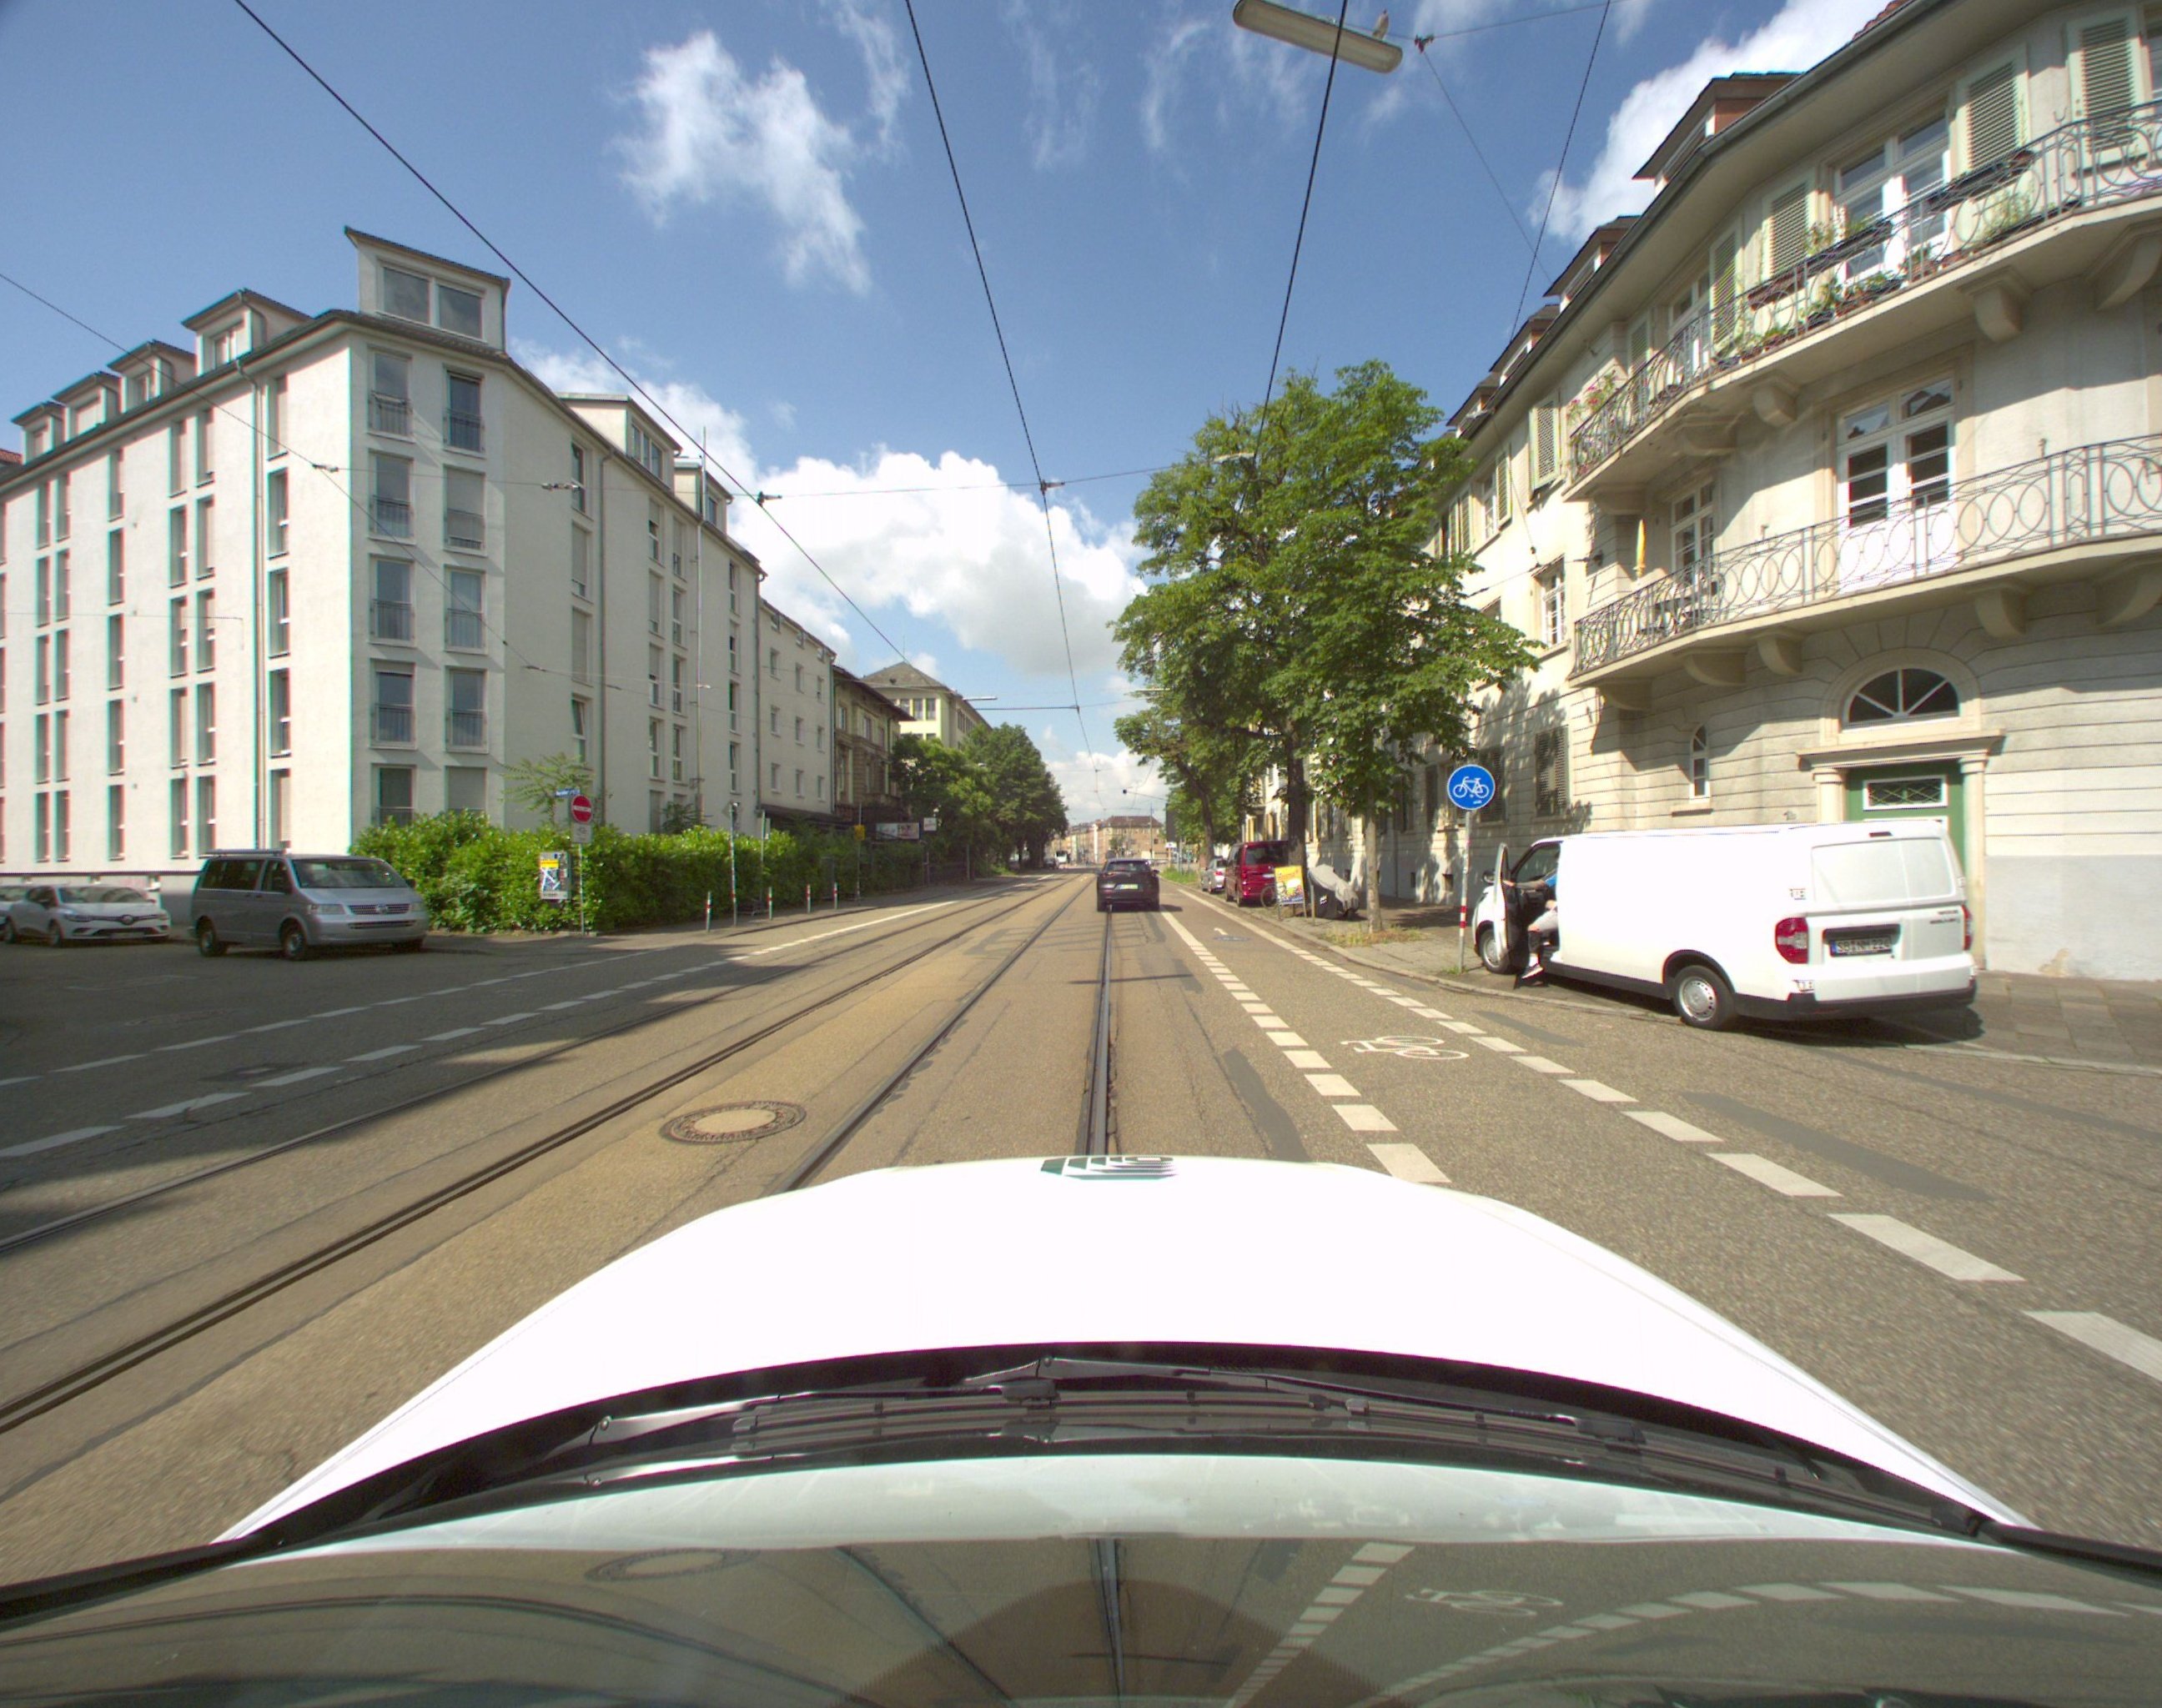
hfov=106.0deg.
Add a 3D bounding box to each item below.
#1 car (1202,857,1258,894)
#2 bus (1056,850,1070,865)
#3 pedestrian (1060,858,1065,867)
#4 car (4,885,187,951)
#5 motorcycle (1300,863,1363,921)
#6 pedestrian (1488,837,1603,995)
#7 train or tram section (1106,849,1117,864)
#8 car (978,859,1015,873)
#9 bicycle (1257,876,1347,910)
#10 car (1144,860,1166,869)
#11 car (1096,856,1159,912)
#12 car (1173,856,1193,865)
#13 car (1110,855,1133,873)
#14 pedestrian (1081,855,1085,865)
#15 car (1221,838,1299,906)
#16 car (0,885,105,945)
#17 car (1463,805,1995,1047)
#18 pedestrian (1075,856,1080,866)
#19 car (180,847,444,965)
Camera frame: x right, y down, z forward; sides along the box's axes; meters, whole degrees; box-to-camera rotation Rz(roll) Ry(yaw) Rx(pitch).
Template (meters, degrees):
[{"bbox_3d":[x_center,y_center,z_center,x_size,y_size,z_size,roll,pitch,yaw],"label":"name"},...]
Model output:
[{"bbox_3d":[6.100,0.837,33.677,1.714,1.424,3.591,-1,0,2],"label":"car"},{"bbox_3d":[-4.203,0.795,186.062,2.683,3.421,11.002,1,0,-4],"label":"bus"},{"bbox_3d":[-3.137,1.499,139.957,0.749,1.510,0.823,-1,-1,-3],"label":"pedestrian"},{"bbox_3d":[-23.795,1.491,19.667,3.923,1.413,1.800,-1,-1,24],"label":"car"},{"bbox_3d":[5.872,0.853,19.229,0.791,1.271,2.423,-1,0,2],"label":"motorcycle"},{"bbox_3d":[5.705,0.724,10.059,0.814,1.836,0.960,0,0,-7],"label":"pedestrian"},{"bbox_3d":[7.744,0.639,207.131,2.562,3.772,13.030,0,0,2],"label":"train or tram section"},{"bbox_3d":[-8.863,1.249,85.560,3.737,1.287,1.609,1,0,-2],"label":"car"},{"bbox_3d":[6.009,1.065,22.172,2.267,0.861,0.672,-1,0,1],"label":"bicycle"},{"bbox_3d":[13.709,1.942,151.026,3.814,1.618,1.629,1,-1,-16],"label":"car"},{"bbox_3d":[1.329,0.825,24.141,1.714,1.526,3.591,-1,0,2],"label":"car"},{"bbox_3d":[21.046,1.358,168.562,3.829,1.618,1.622,2,-1,-29],"label":"car"},{"bbox_3d":[3.557,0.881,72.535,1.986,1.529,4.001,1,0,2],"label":"car"},{"bbox_3d":[0.385,1.267,164.173,0.882,2.014,0.617,-1,-1,-2],"label":"pedestrian"},{"bbox_3d":[5.599,0.537,25.938,1.713,1.968,4.210,-1,0,3],"label":"car"},{"bbox_3d":[-27.886,1.556,21.420,3.923,1.396,1.800,-1,0,24],"label":"car"},{"bbox_3d":[6.499,0.585,9.159,1.783,1.938,4.984,-1,0,-4],"label":"car"},{"bbox_3d":[-0.670,1.501,164.372,0.882,2.014,0.617,-1,-1,-2],"label":"pedestrian"},{"bbox_3d":[-14.930,0.942,15.808,4.620,2.014,2.058,-1,-1,24],"label":"car"}]
